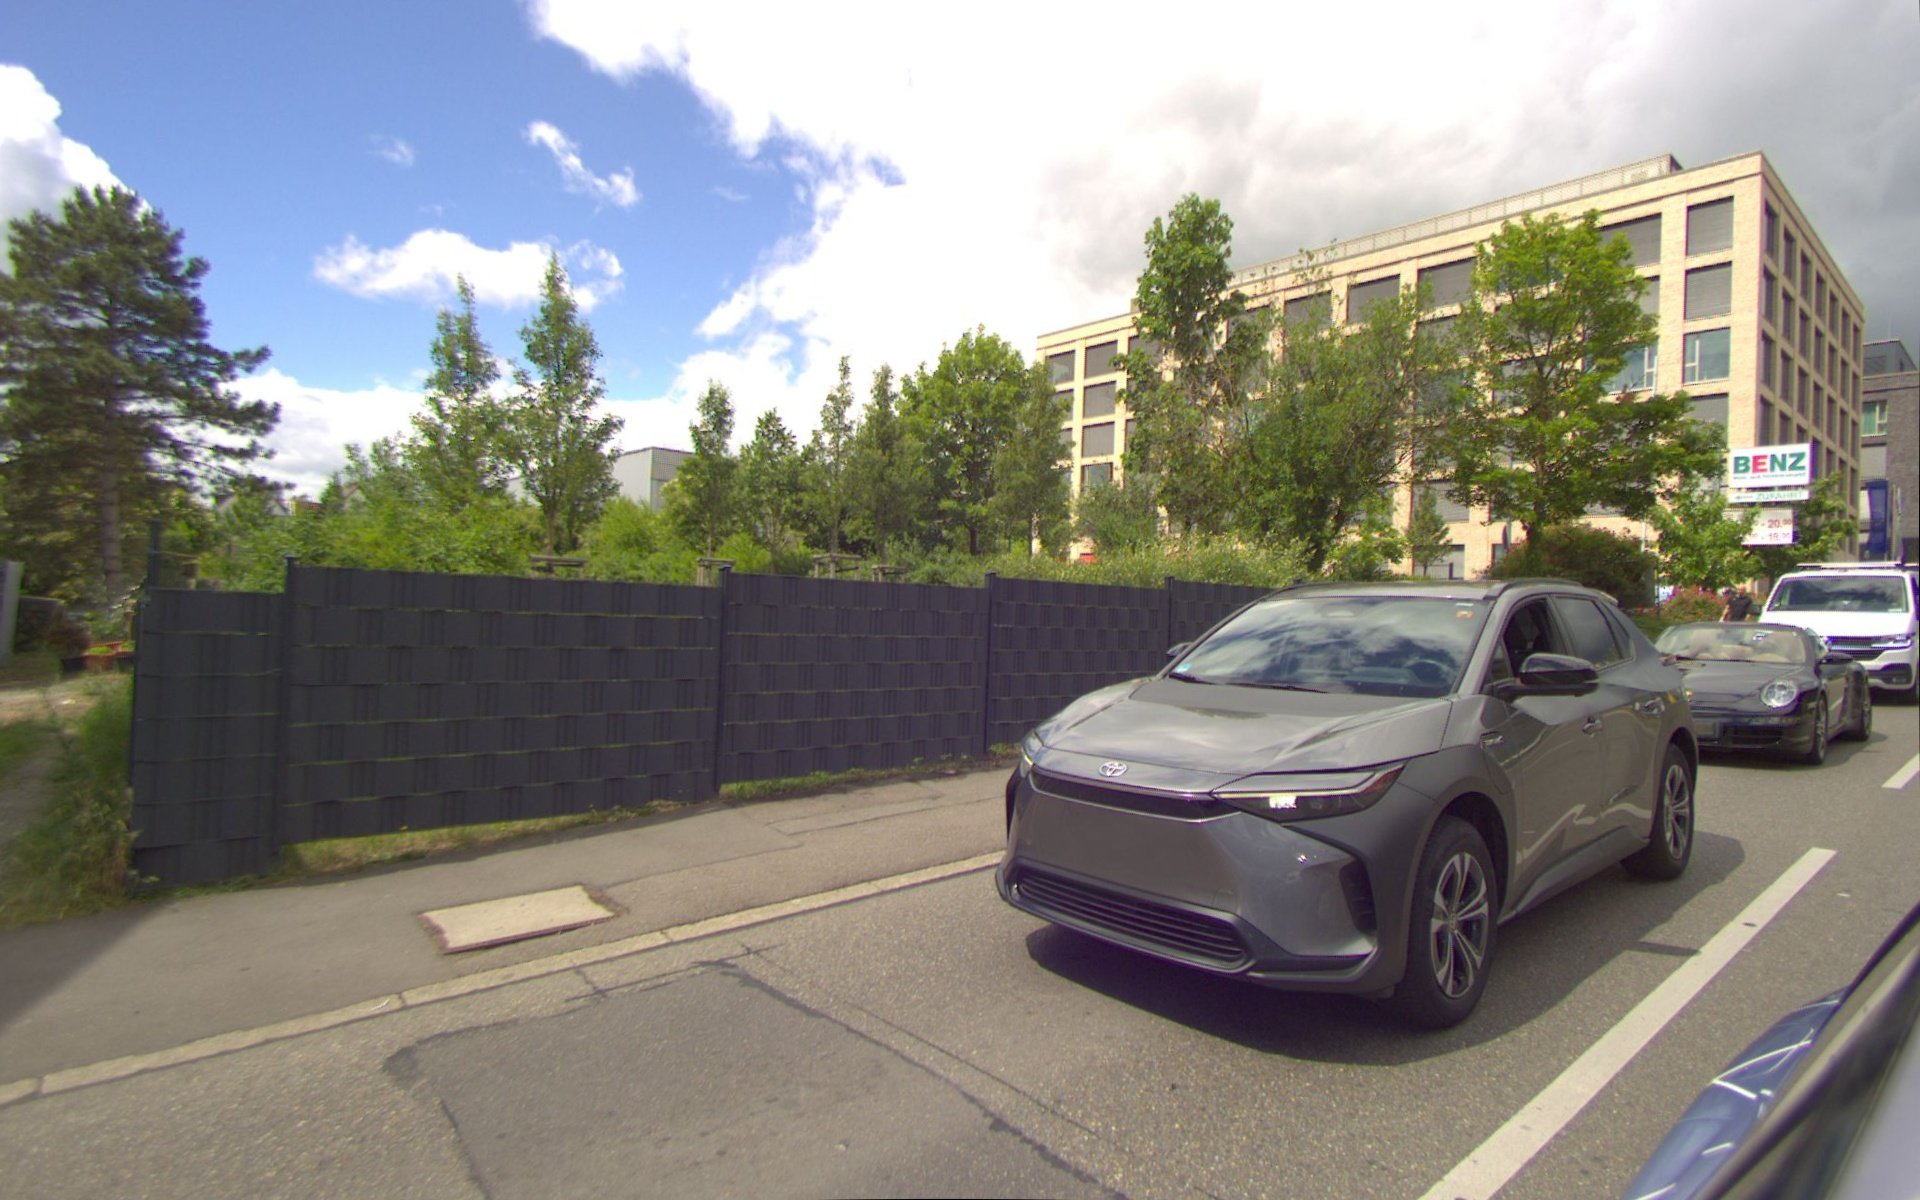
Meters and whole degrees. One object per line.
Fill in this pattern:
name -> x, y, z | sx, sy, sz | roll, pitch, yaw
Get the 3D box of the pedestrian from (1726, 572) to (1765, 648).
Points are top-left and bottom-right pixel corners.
pedestrian -> 18.185, 0.221, 23.423 | 0.544, 1.741, 0.602 | 0, 1, -40

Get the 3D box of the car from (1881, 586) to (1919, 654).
car -> 22.794, 0.445, 23.341 | 3.930, 1.481, 1.817 | -1, 2, -41

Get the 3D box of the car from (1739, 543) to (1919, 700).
car -> 13.875, 0.259, 15.595 | 4.677, 2.075, 2.087 | -1, 0, -41

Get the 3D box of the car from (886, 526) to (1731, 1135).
car -> 2.022, 0.581, 4.988 | 4.501, 1.649, 1.997 | -1, 1, -42

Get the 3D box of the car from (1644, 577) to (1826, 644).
car -> 22.565, 0.245, 29.574 | 1.793, 1.754, 3.991 | -1, 2, -44

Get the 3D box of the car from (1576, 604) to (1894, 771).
car -> 7.996, 0.724, 10.317 | 3.968, 1.310, 1.823 | -1, 1, -41
